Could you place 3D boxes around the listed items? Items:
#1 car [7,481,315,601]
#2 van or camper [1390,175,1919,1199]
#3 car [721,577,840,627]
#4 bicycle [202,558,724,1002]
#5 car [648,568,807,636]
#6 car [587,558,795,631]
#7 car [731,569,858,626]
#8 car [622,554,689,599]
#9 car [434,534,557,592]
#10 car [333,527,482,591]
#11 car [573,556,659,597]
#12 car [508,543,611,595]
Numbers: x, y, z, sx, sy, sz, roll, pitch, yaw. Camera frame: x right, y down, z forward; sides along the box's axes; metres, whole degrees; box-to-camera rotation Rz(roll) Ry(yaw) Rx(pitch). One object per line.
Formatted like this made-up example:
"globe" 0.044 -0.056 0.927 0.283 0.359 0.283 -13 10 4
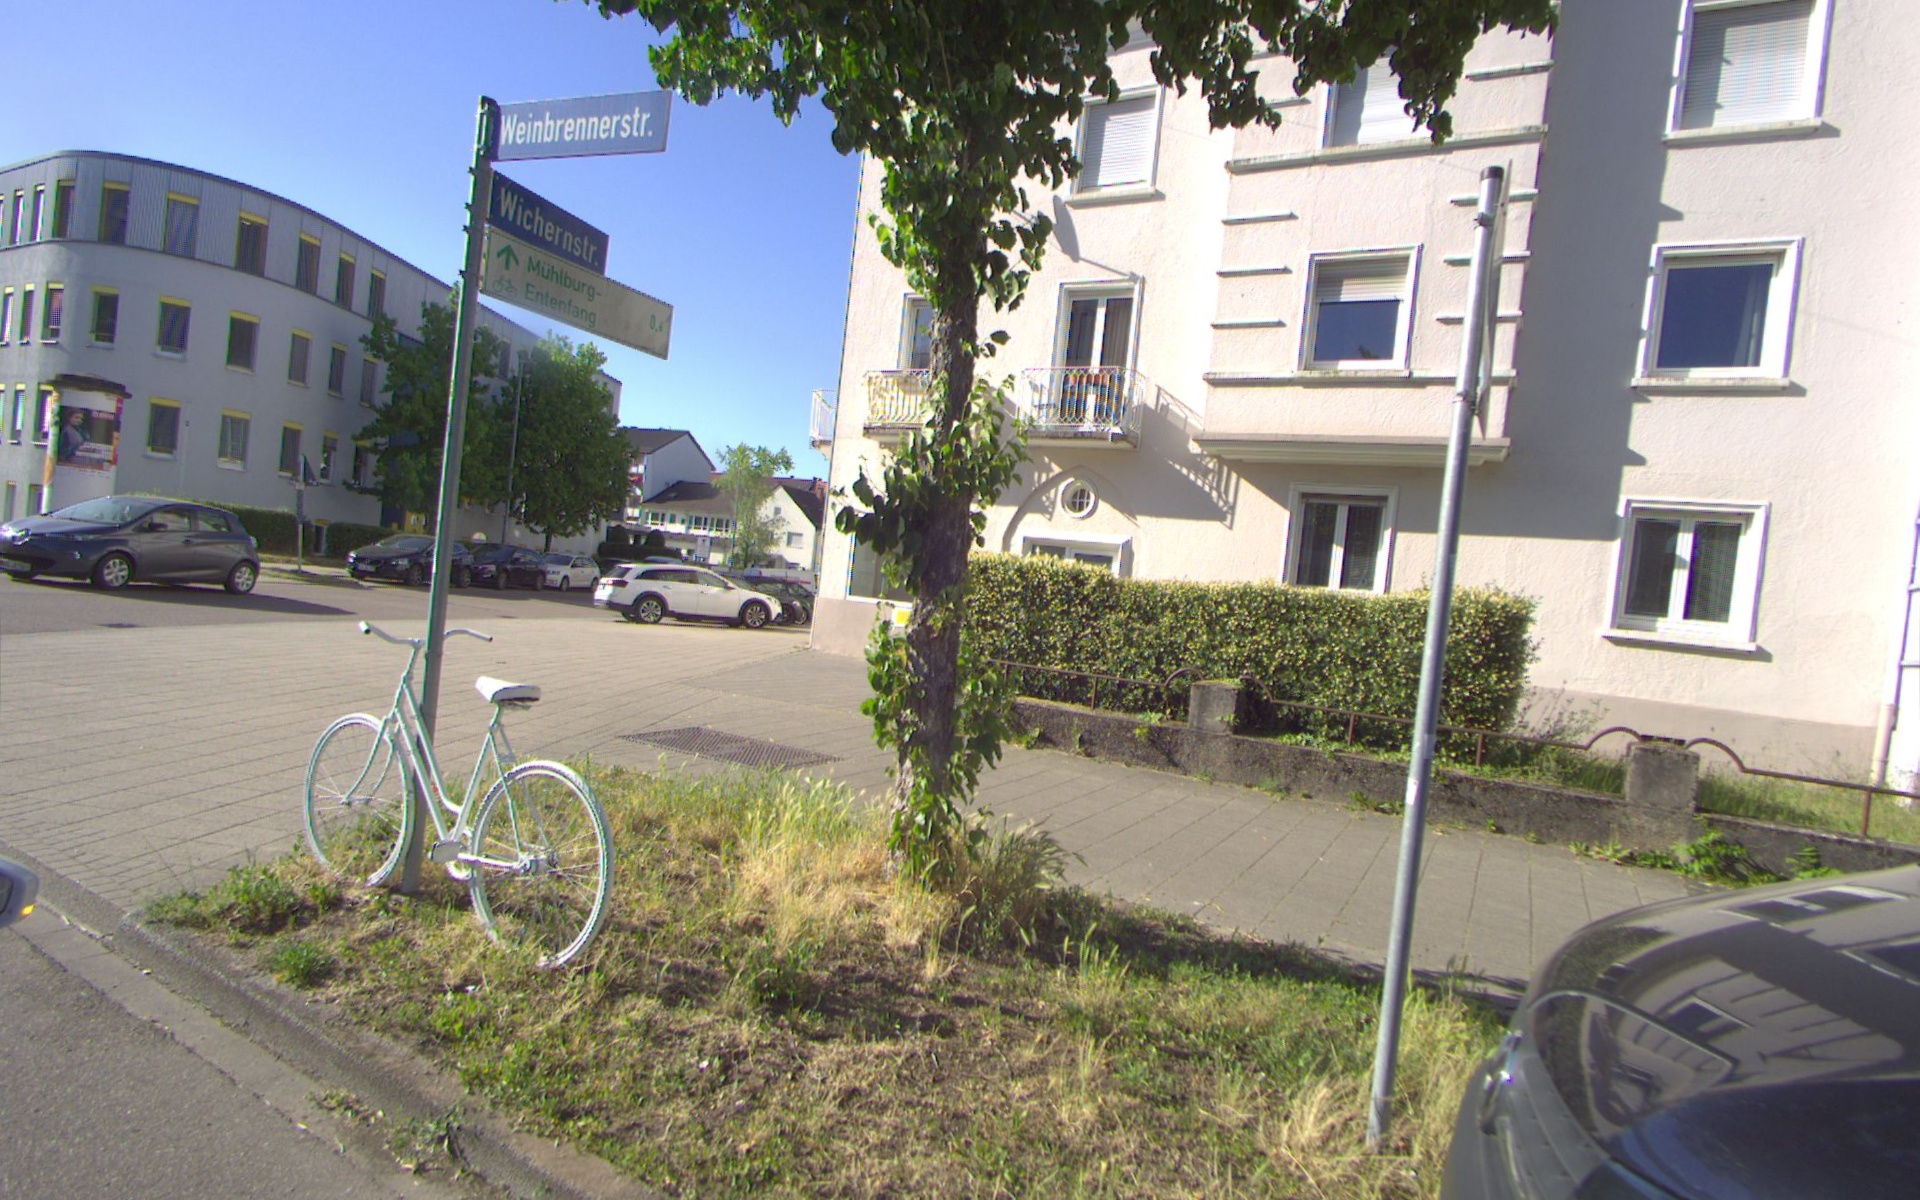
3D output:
"car" -13.742 -0.915 17.694 1.808 1.521 4.141 7 -1 4
"van or camper" 3.129 0.927 0.443 5.295 1.884 1.994 6 -2 29
"car" -6.561 0.096 36.820 3.948 1.507 1.606 4 -1 -29
"bicycle" -1.899 0.549 3.738 1.994 1.208 0.529 6 0 26
"car" -6.850 0.060 29.715 4.127 1.515 1.809 7 -2 -31
"car" -6.935 -0.130 26.093 4.819 1.483 1.956 4 2 -32
"car" -6.586 -0.079 40.257 4.489 1.921 2.030 5 -1 -38
"car" -14.796 -1.104 49.143 1.661 1.862 4.340 7 0 1
"car" -15.644 -1.184 34.168 1.879 1.497 4.381 7 -1 2
"car" -15.885 -1.124 29.204 1.761 1.428 4.223 7 0 2
"car" -14.952 -0.981 44.020 1.705 1.457 4.612 7 0 5
"car" -15.452 -1.137 39.066 1.879 1.548 4.626 7 -1 2
